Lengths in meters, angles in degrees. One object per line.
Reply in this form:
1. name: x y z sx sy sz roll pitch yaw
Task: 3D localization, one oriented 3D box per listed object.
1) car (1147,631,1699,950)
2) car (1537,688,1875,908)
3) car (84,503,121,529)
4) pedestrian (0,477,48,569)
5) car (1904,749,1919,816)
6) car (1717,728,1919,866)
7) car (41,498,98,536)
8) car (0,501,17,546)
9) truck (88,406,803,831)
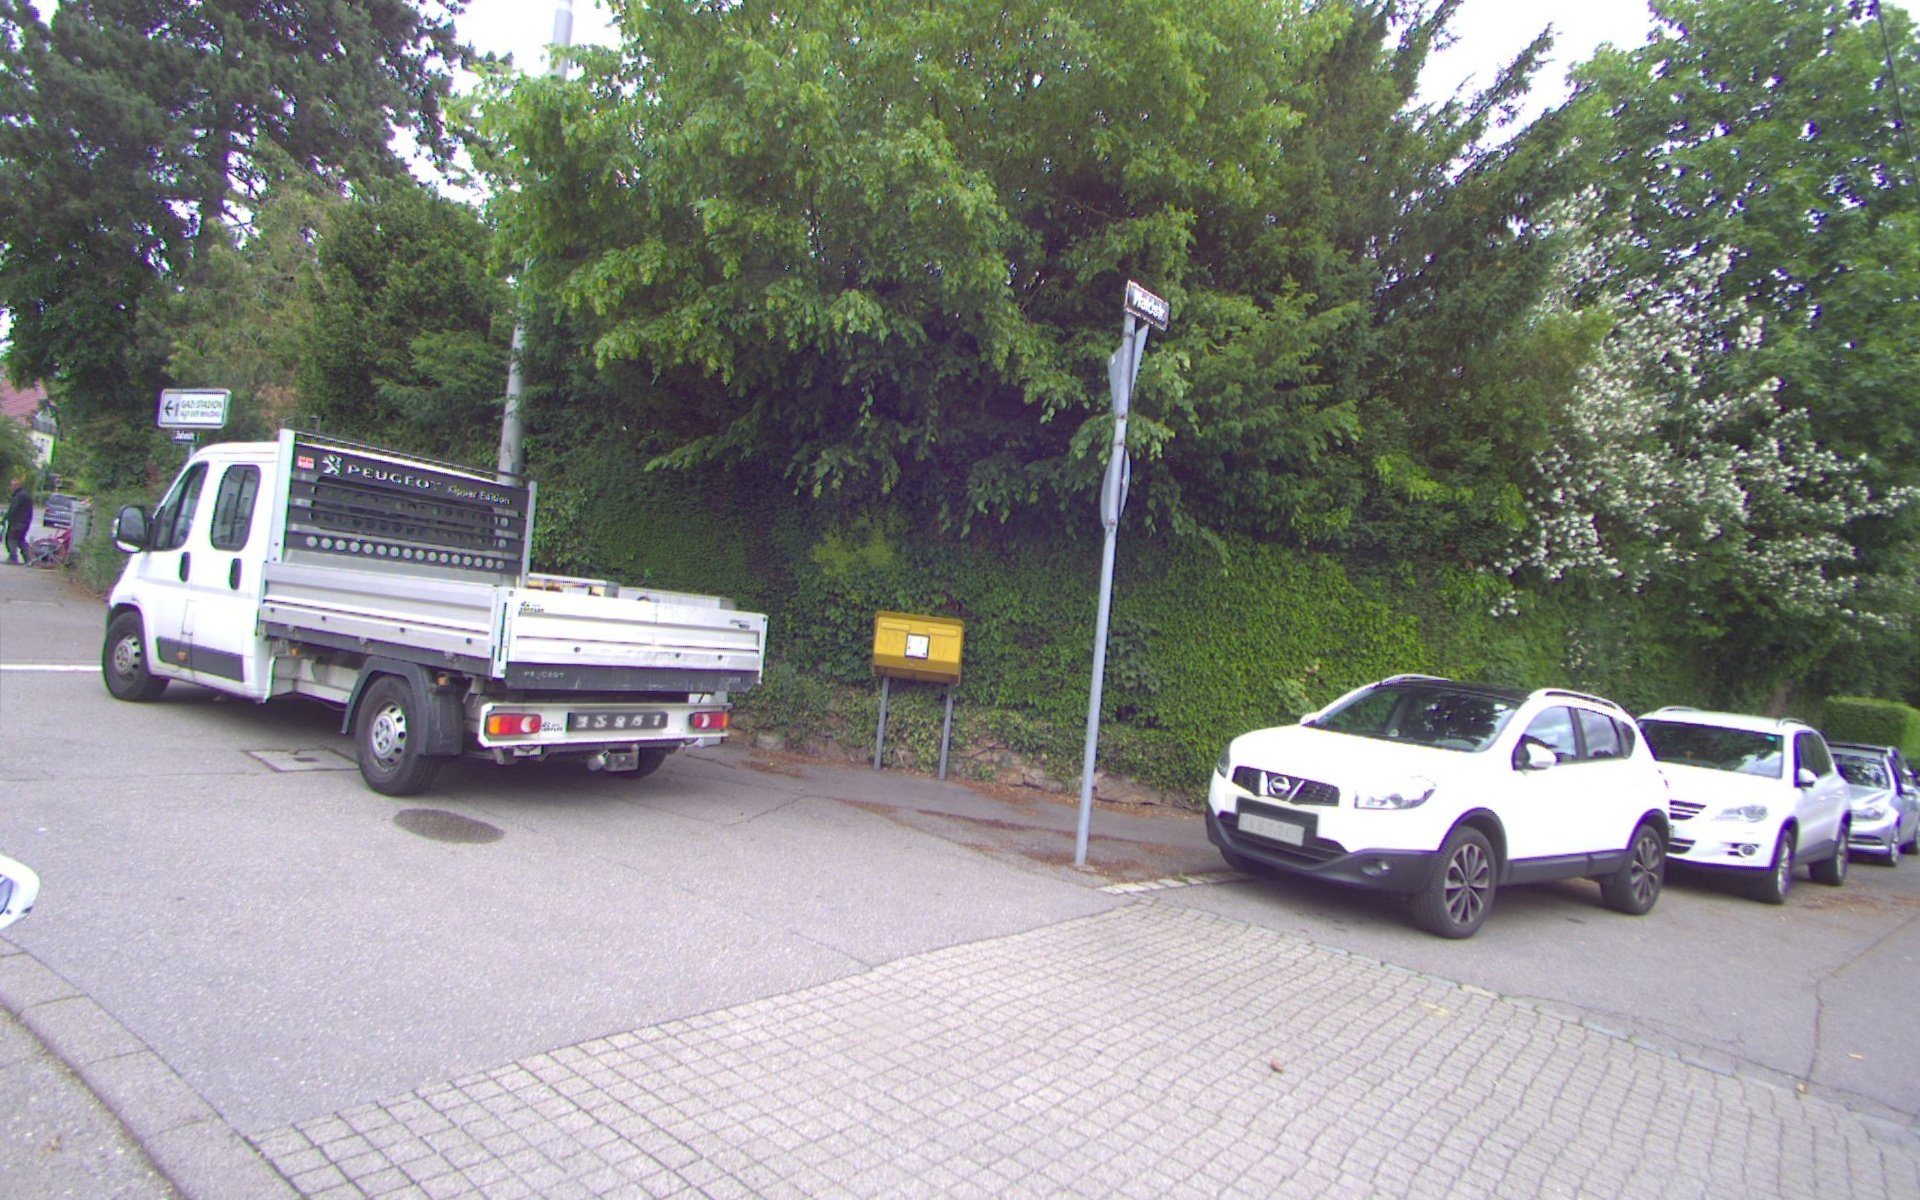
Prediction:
1. car: 3.539 1.319 7.405 4.099 1.641 1.783 9 -3 -35
2. car: 7.752 1.951 10.321 4.042 1.641 1.780 9 -3 -39
3. car: -73.705 -7.219 86.497 1.931 1.846 4.037 10 -3 -36
4. pedestrian: -20.896 -1.702 22.372 0.549 1.929 0.597 7 -1 31
5. car: 23.866 4.438 23.532 3.699 1.500 1.563 8 -2 -31
6. car: 12.478 2.735 14.308 4.041 1.440 1.780 8 -3 -39
7. car: -52.223 -4.847 59.057 1.931 1.846 4.037 10 -3 -36
8. car: -32.776 -2.676 33.123 1.833 1.475 4.039 10 -3 -35
9. truck: -4.192 -0.042 7.798 5.630 2.269 2.211 6 -2 33
